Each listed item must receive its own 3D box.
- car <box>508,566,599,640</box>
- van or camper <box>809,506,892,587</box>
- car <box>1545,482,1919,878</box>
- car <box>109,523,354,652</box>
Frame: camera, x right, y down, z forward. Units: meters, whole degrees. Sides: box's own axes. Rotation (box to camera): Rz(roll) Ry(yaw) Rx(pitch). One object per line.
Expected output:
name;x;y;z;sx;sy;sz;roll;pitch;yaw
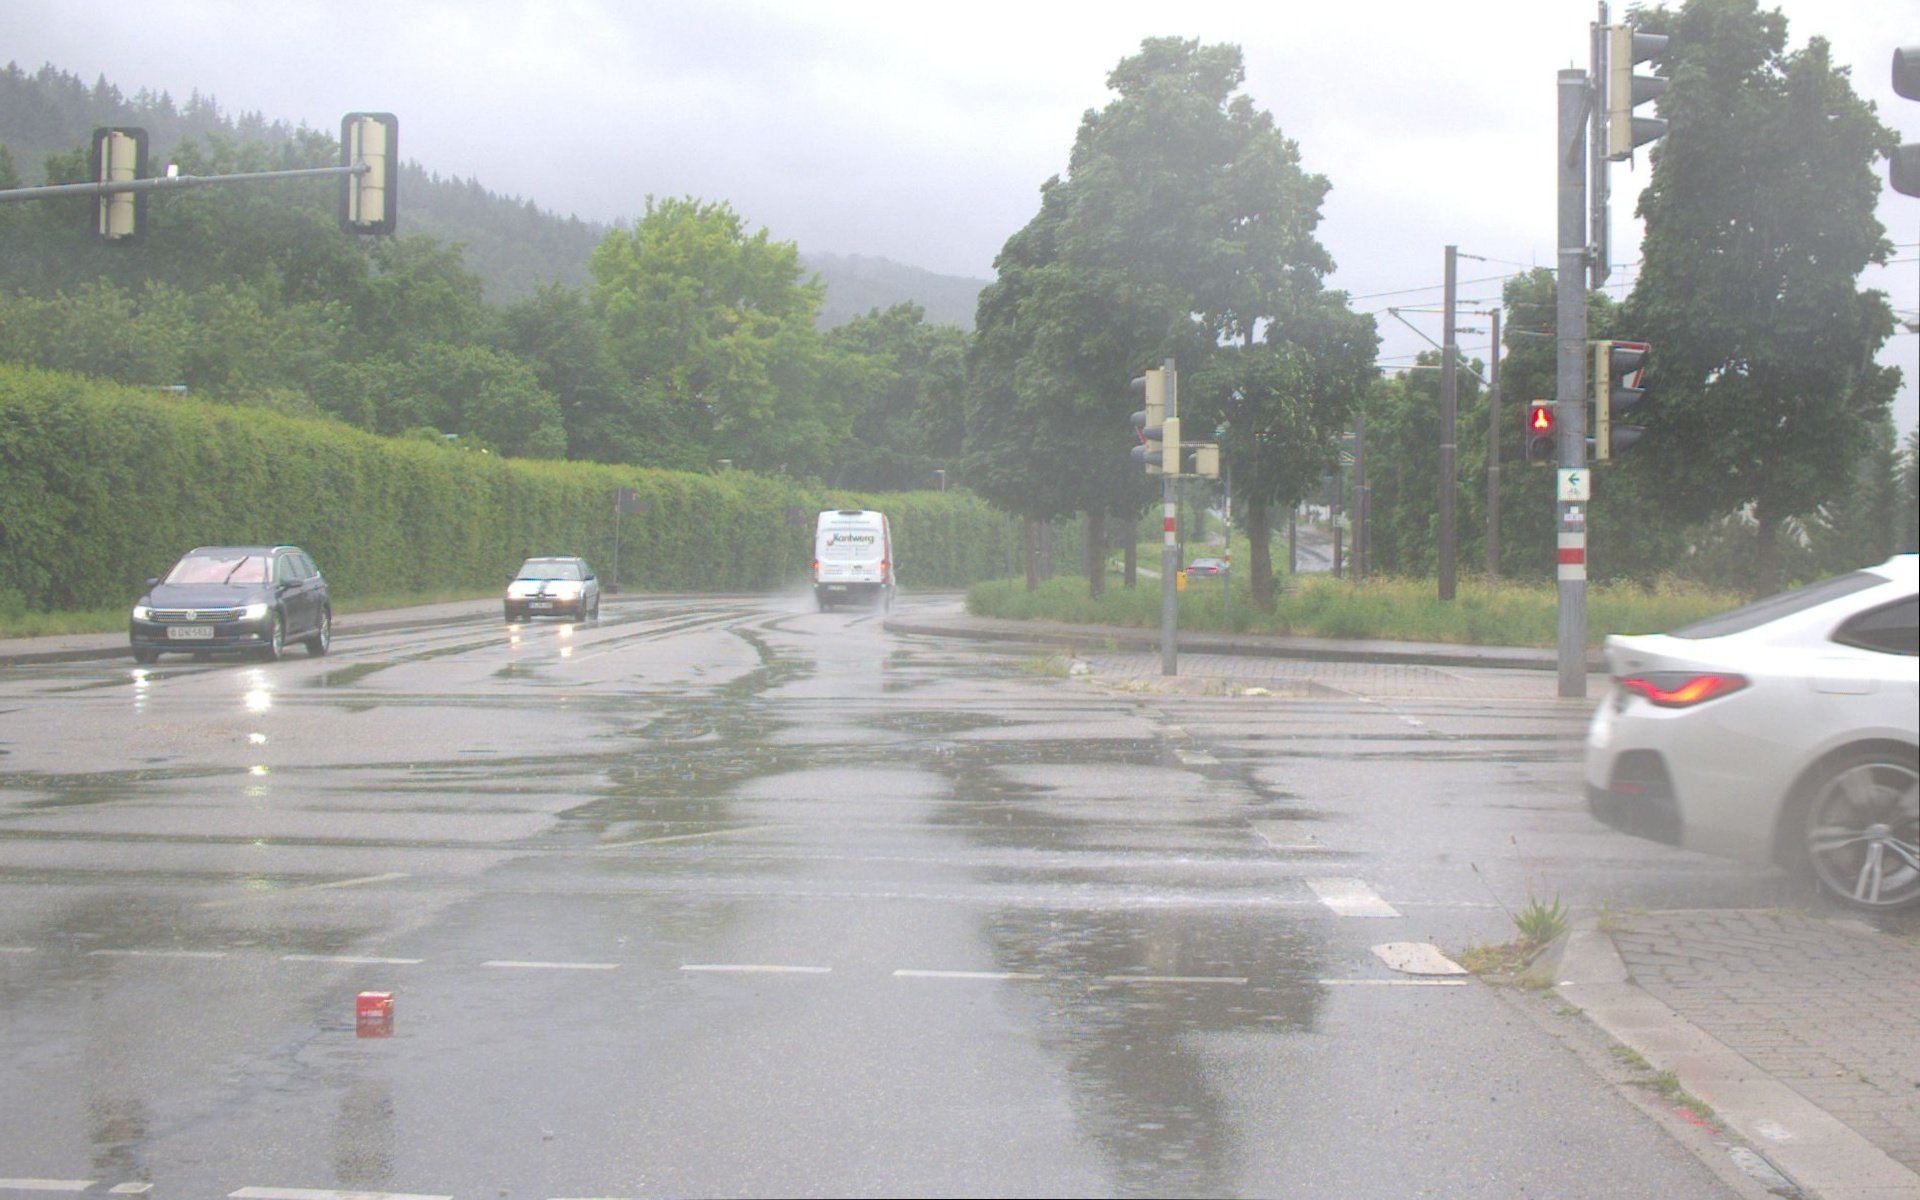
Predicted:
car;-8.720;0.041;73.881;1.558;1.476;3.361;1;1;0
van or camper;-2.991;-1.500;94.906;2.153;2.161;4.865;1;1;0
car;4.922;0.297;14.181;4.883;1.548;1.799;0;1;8
car;-9.491;-0.199;45.160;1.879;1.568;4.644;-1;1;4
